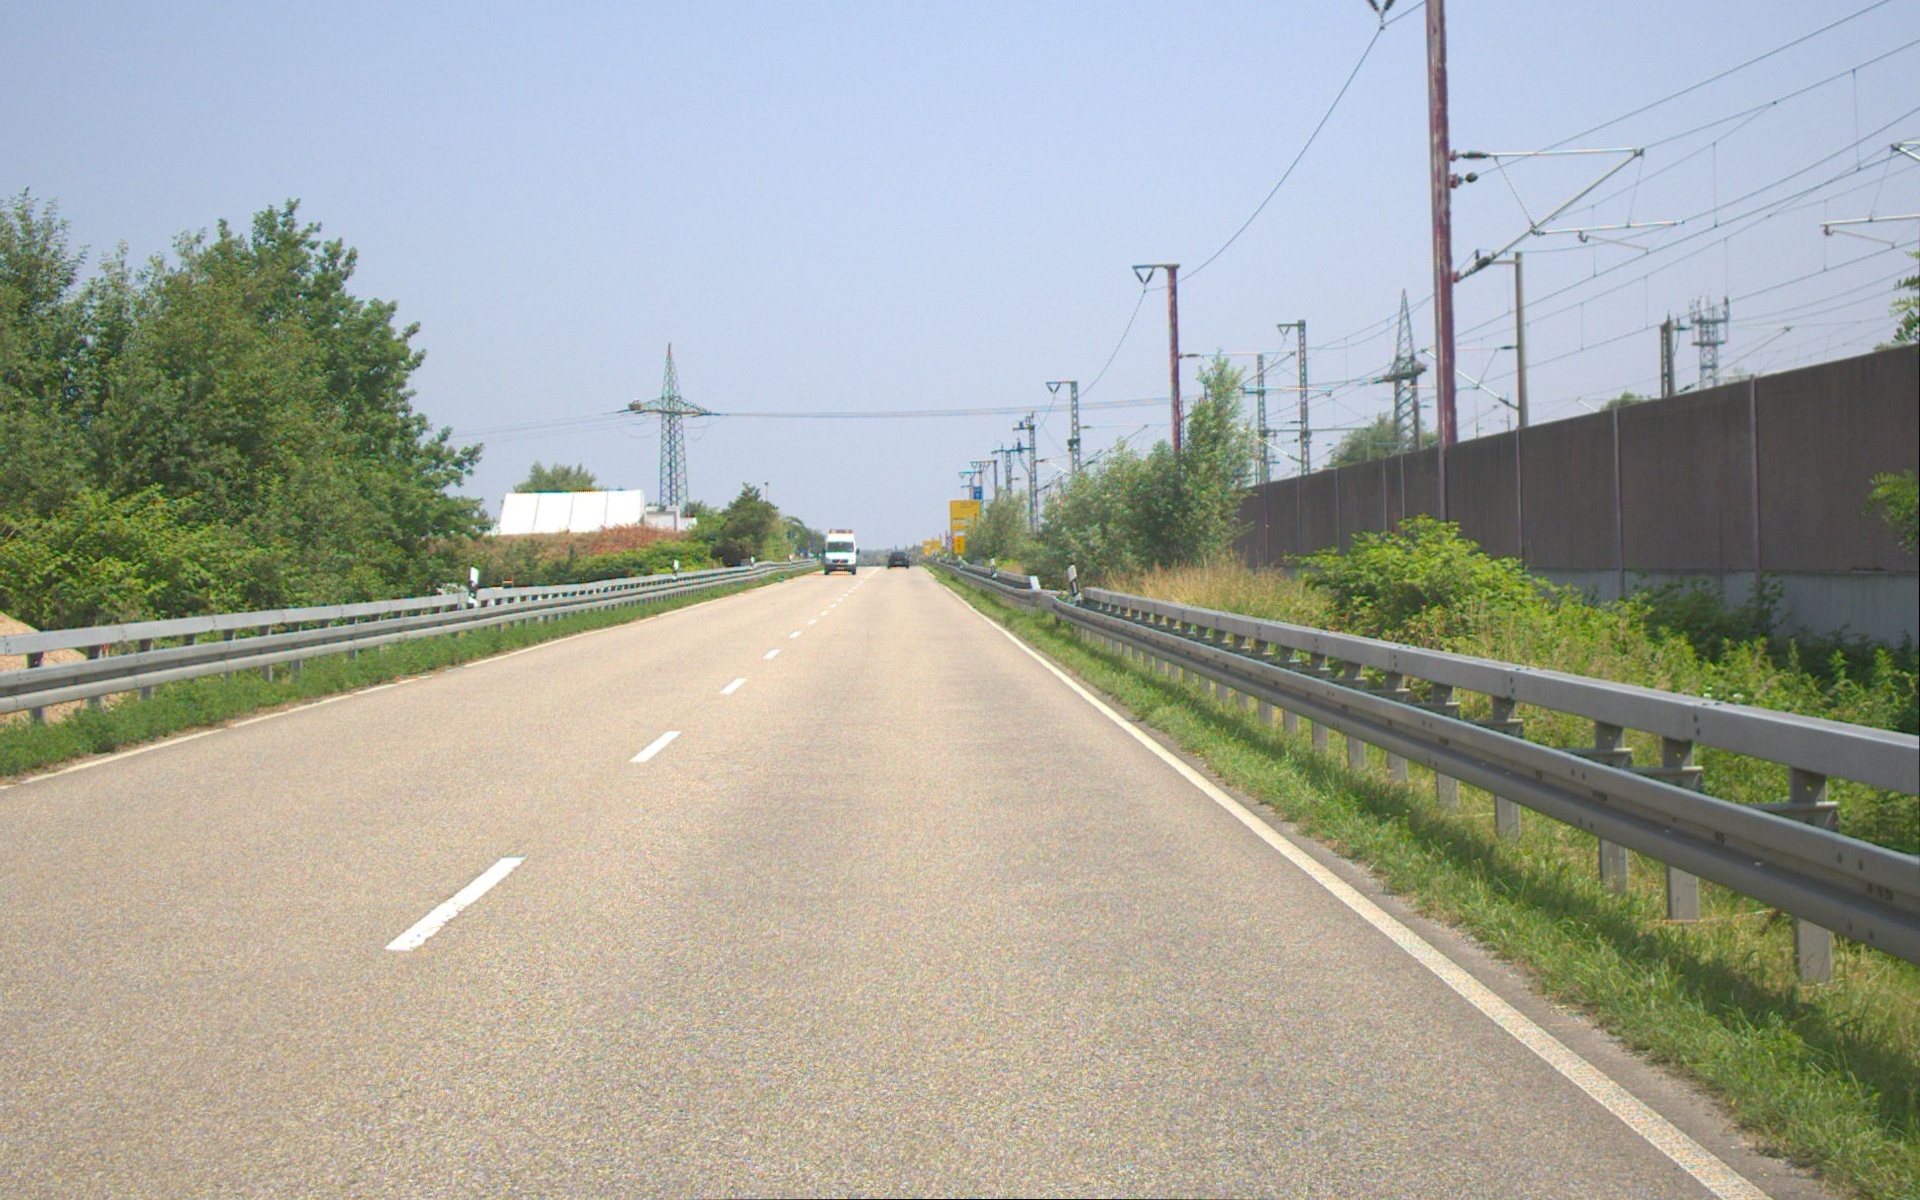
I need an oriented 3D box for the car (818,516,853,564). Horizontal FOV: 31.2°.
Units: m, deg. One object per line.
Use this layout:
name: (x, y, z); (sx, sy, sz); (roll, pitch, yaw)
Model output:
car: (-7.756, -3.757, 215.152); (2.079, 2.952, 6.730); (0, 1, -1)
